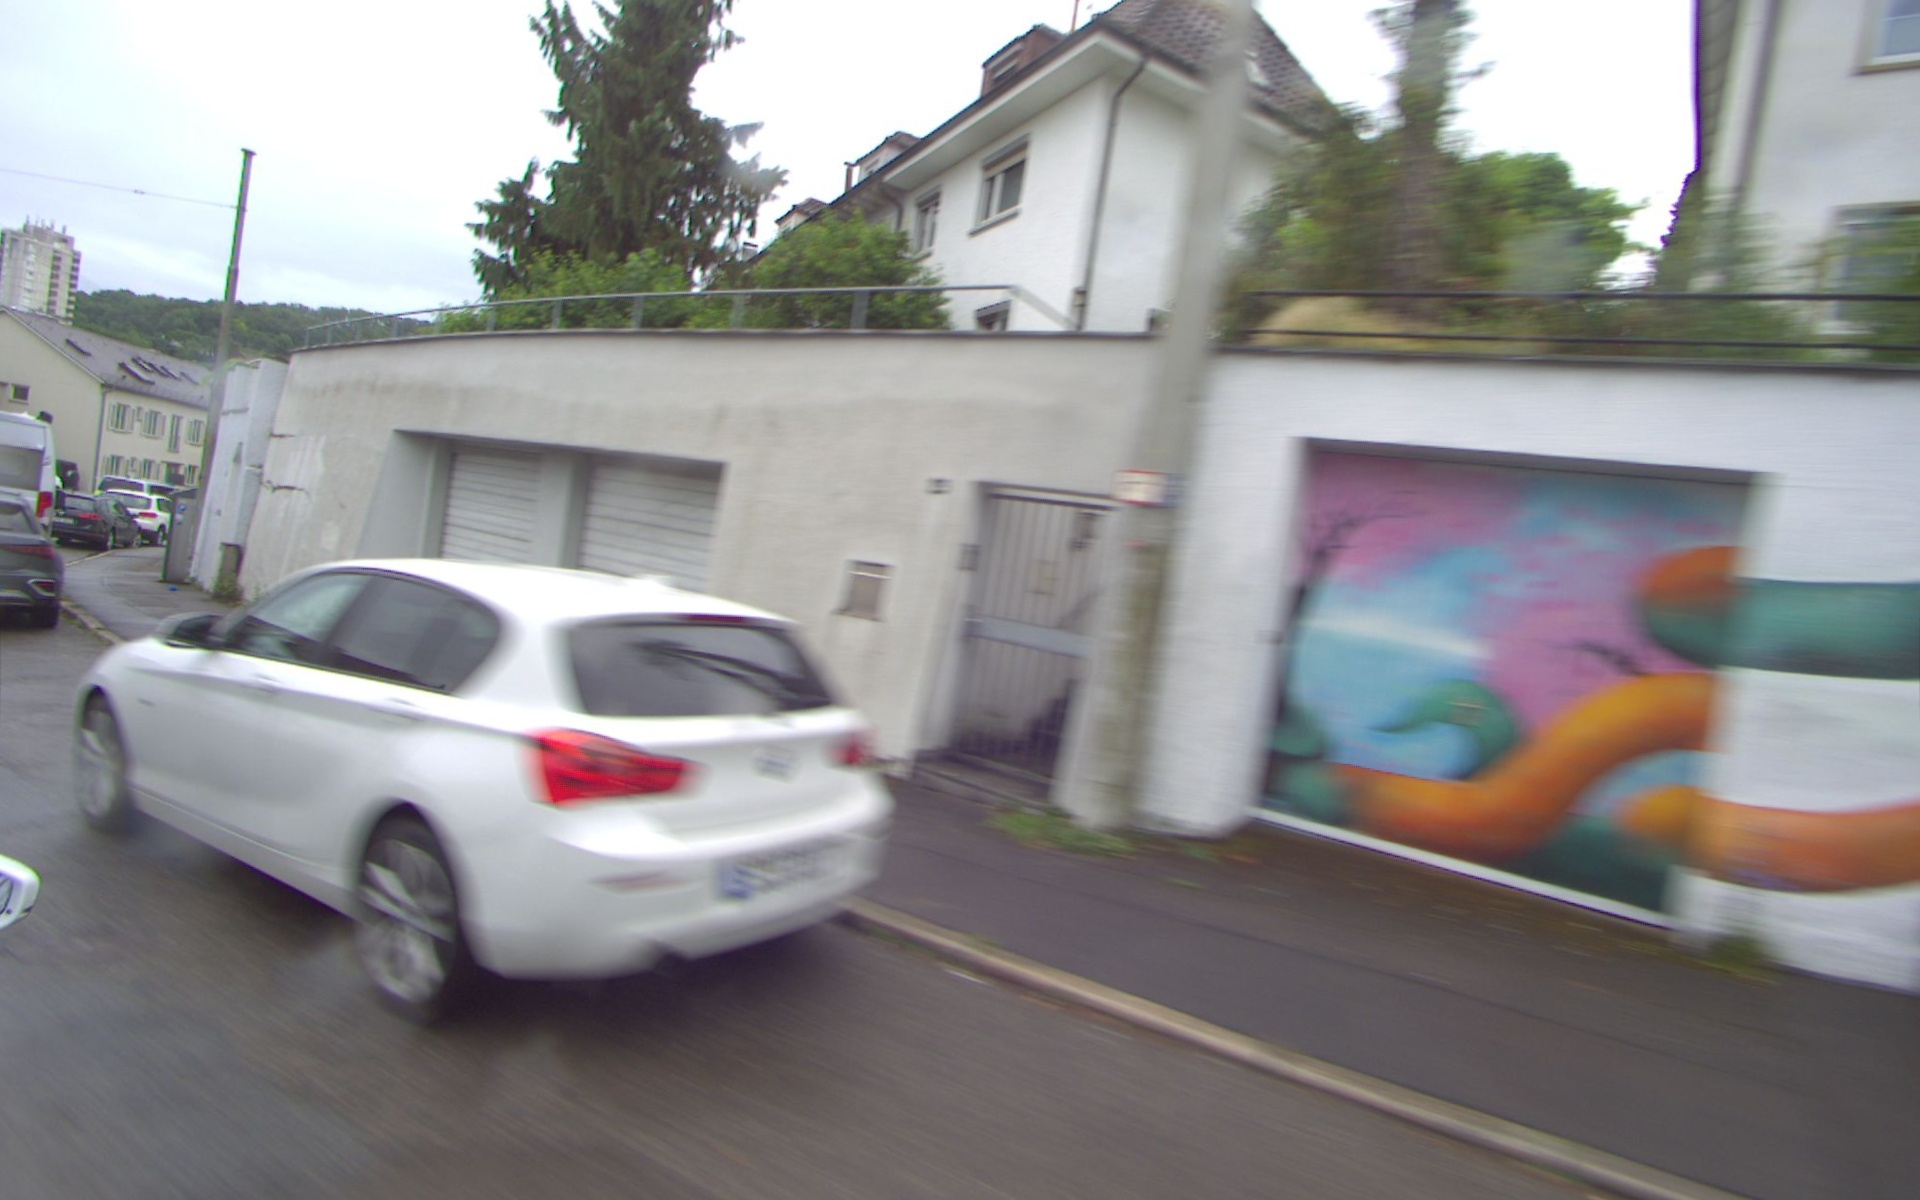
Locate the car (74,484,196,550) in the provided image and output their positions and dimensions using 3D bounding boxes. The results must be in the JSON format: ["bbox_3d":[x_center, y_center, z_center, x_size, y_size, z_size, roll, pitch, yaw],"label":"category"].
[{"bbox_3d":[-26.373,-2.604,32.329,1.787,1.668,4.185,9,-1,-24],"label":"car"}]

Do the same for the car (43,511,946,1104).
[{"bbox_3d":[-2.237,0.508,4.464,3.976,1.432,1.706,6,0,33],"label":"car"}]

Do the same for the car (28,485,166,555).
[{"bbox_3d":[-23.781,-2.141,27.905,1.664,1.500,4.175,10,-2,-25],"label":"car"}]

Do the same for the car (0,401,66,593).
[{"bbox_3d":[-15.411,-1.681,15.565,2.092,2.574,5.551,6,0,-43],"label":"car"}]

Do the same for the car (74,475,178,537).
[{"bbox_3d":[-33.594,-3.758,40.674,2.292,1.962,4.290,9,0,-29],"label":"car"}]

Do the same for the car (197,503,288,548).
[{"bbox_3d":[-30.437,-3.112,42.816,1.622,1.453,4.159,9,0,-15],"label":"car"}]

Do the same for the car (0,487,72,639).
[{"bbox_3d":[-11.629,-0.600,11.492,4.127,1.514,1.750,7,0,43],"label":"car"}]
